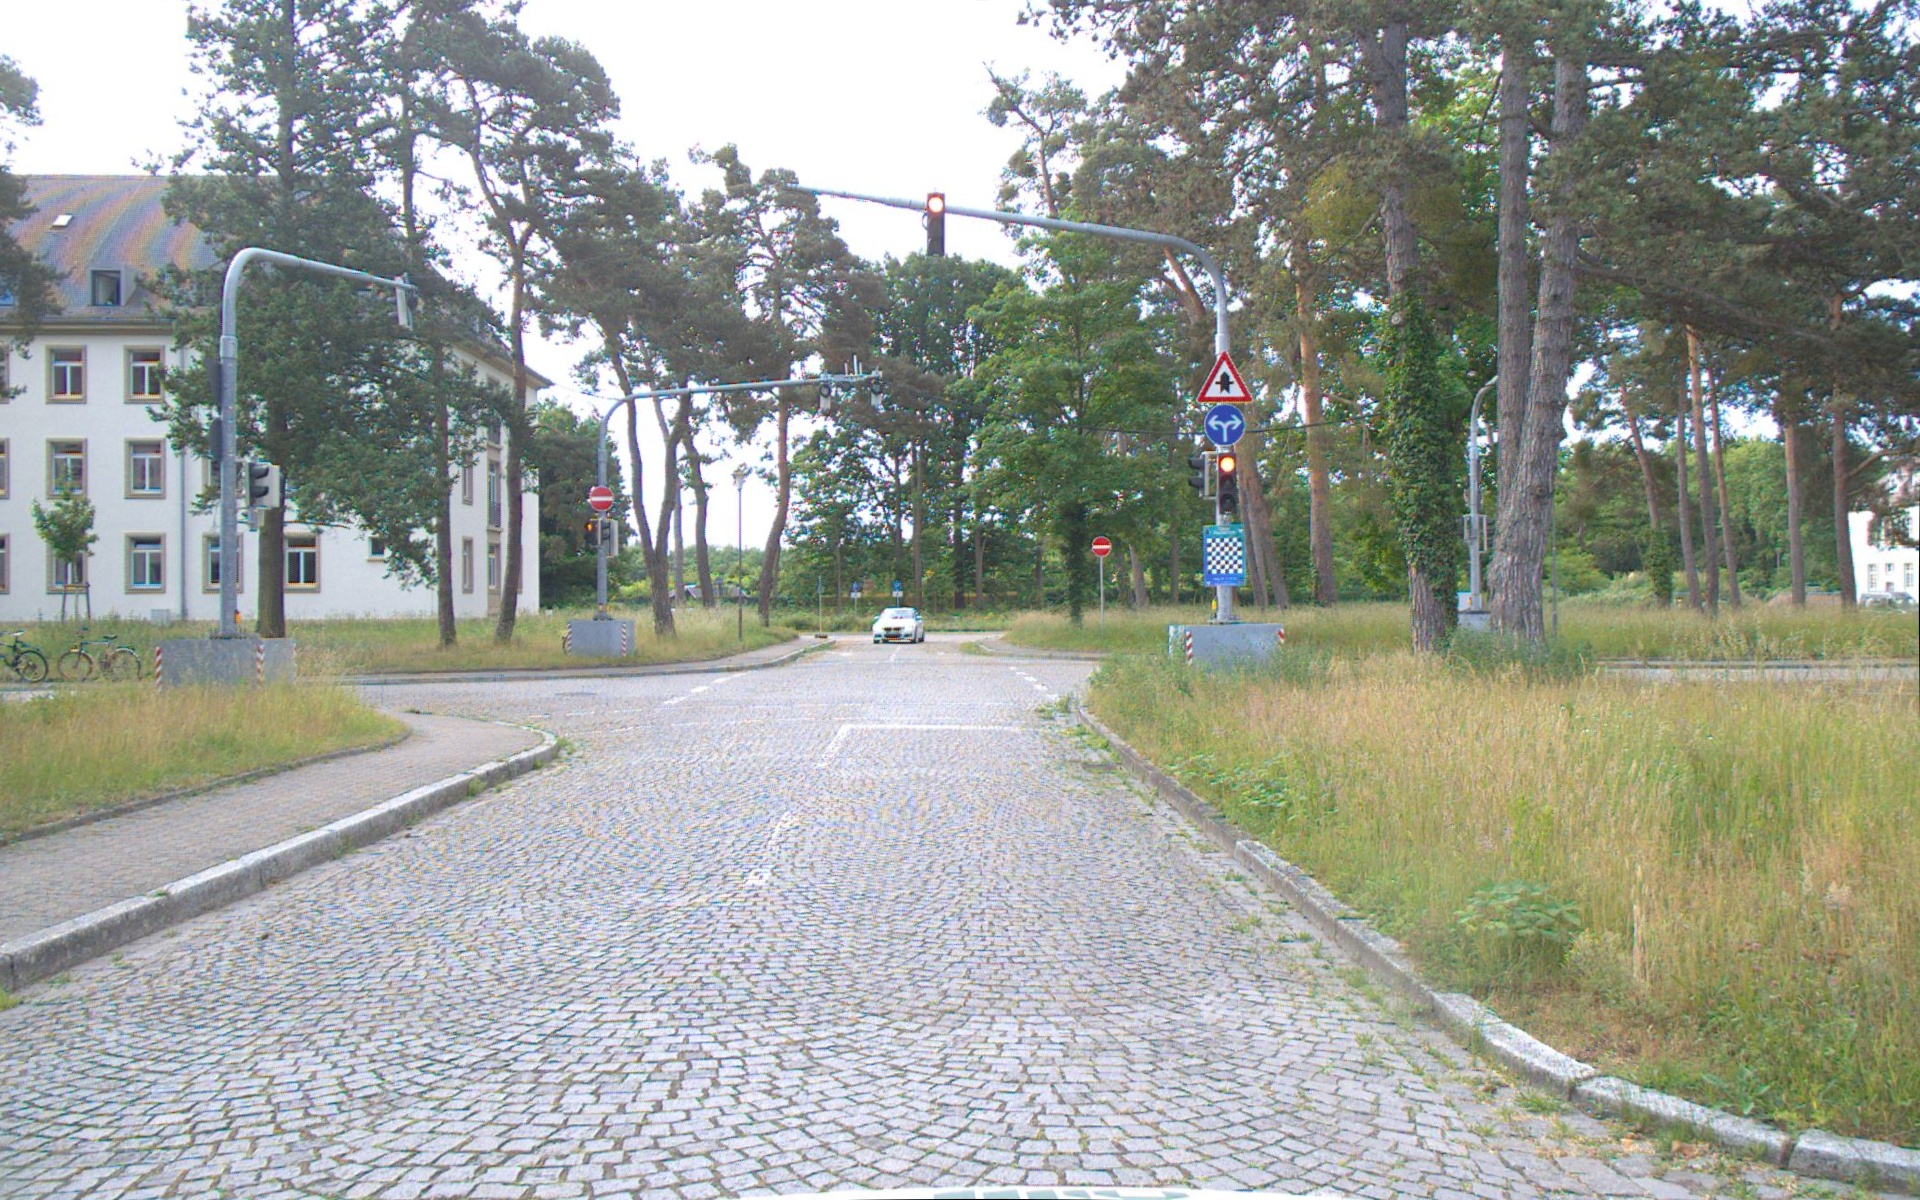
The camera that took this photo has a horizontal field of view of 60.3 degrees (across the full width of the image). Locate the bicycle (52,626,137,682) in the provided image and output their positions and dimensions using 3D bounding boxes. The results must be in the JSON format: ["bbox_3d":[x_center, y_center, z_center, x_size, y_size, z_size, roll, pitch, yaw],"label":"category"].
[{"bbox_3d":[-17.624,1.093,33.694,1.435,1.084,0.516,-1,0,-4],"label":"bicycle"}]

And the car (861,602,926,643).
[{"bbox_3d":[-2.704,0.912,68.275,1.735,1.463,4.222,-3,0,11],"label":"car"}]

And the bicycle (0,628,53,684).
[{"bbox_3d":[-19.226,1.137,33.472,1.435,1.098,0.516,-1,0,-4],"label":"bicycle"}]

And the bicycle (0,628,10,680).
[{"bbox_3d":[-20.656,1.149,34.807,0.504,1.098,1.584,-1,0,-4],"label":"bicycle"}]
